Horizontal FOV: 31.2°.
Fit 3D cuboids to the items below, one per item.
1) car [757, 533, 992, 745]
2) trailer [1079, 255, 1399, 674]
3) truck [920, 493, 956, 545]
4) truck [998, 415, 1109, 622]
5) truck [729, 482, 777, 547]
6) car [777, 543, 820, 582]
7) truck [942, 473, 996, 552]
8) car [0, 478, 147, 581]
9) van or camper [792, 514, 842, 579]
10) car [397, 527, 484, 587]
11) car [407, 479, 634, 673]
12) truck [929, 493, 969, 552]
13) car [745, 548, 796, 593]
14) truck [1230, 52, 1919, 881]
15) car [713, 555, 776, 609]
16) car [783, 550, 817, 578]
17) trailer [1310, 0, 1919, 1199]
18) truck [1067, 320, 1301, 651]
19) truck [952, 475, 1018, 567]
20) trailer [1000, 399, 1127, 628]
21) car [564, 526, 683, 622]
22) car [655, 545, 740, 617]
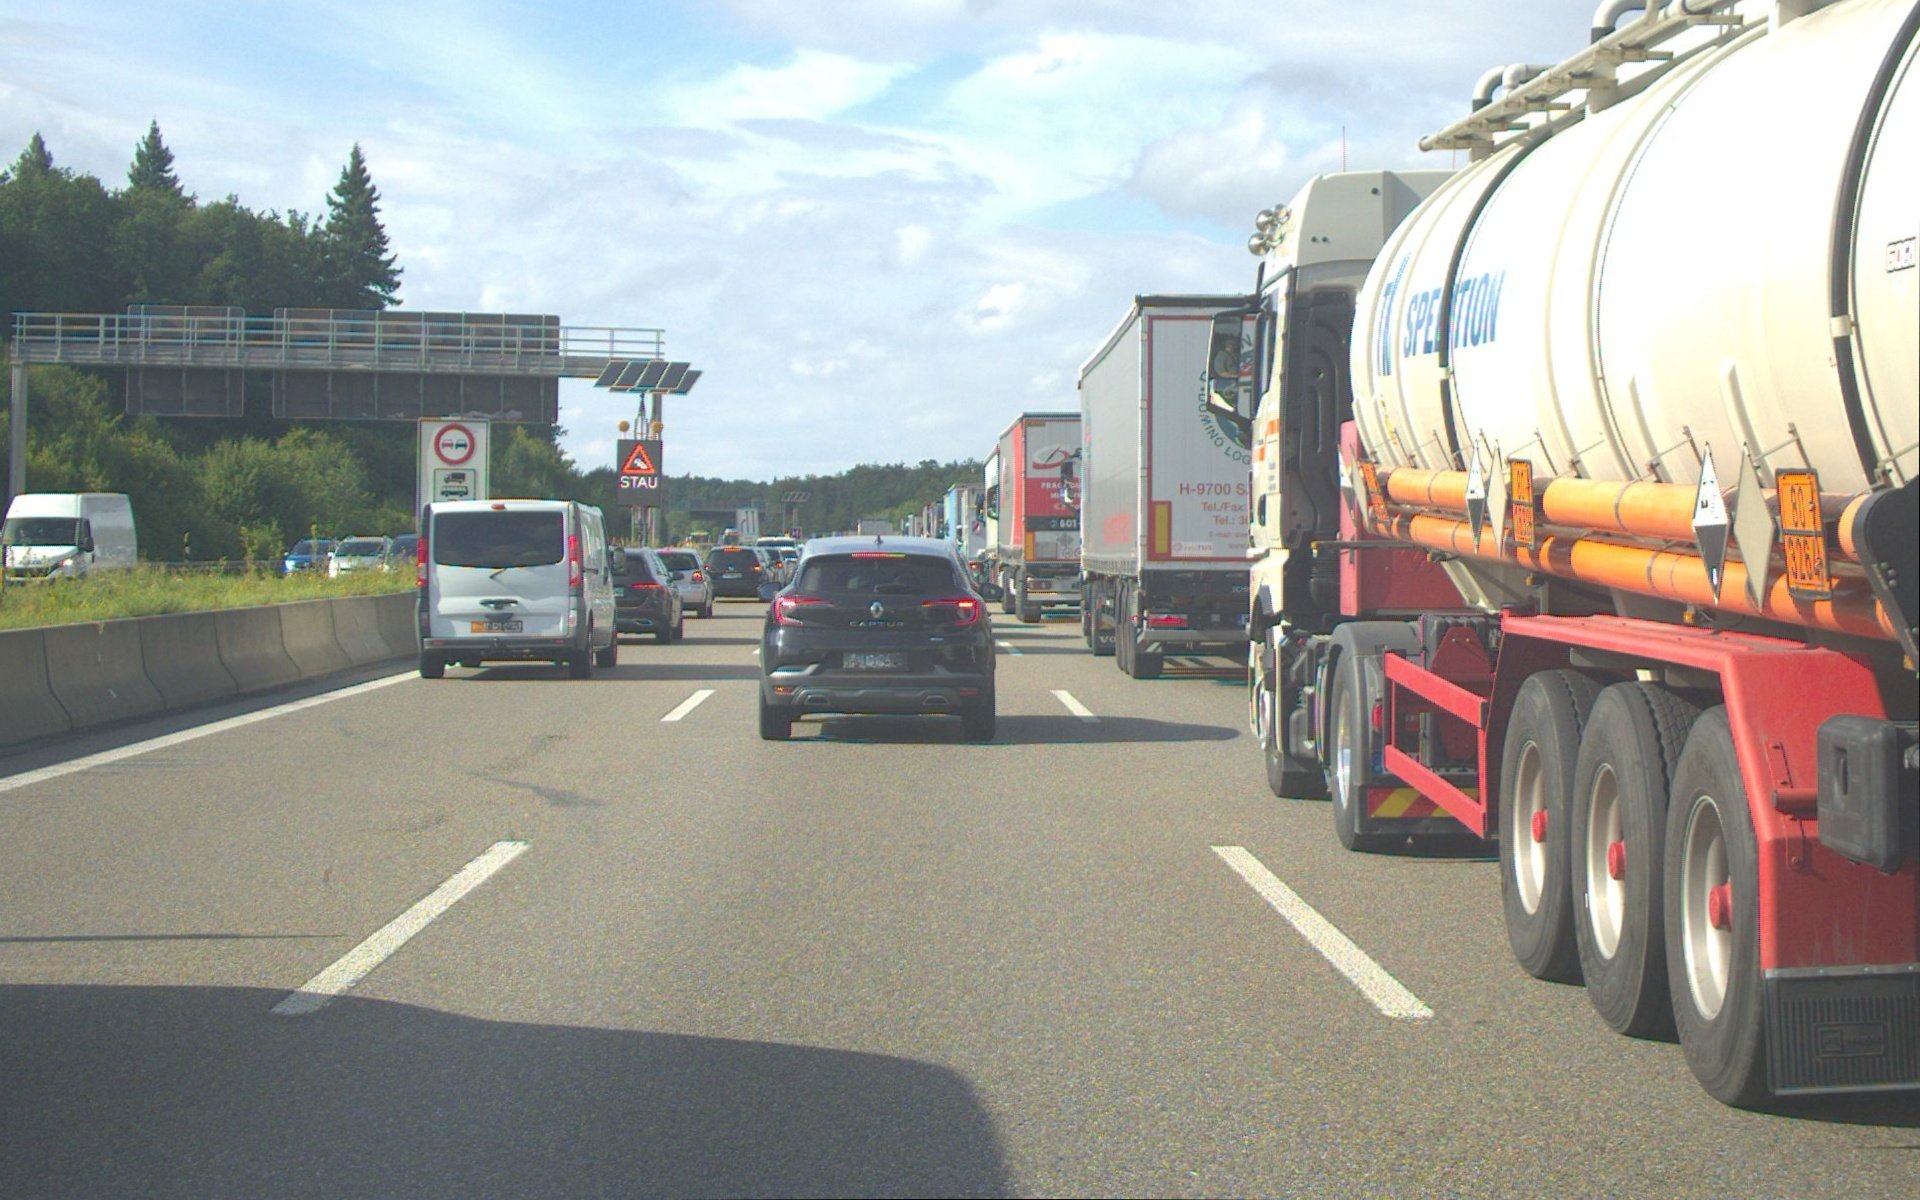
[{"bbox_3d":[-0.609,0.244,27.323,1.697,1.478,4.160,1,2,1],"label":"car"},{"bbox_3d":[3.001,-1.427,40.189,2.802,4.229,11.057,0,1,0],"label":"trailer"},{"bbox_3d":[-1.367,-5.017,213.998,1.993,3.042,4.982,4,1,0],"label":"truck"},{"bbox_3d":[1.972,-1.720,74.278,2.134,4.267,6.339,1,1,0],"label":"truck"},{"bbox_3d":[-12.065,-4.960,200.677,2.344,3.582,6.306,4,1,-1],"label":"truck"},{"bbox_3d":[-5.758,-1.330,122.779,1.361,1.296,3.085,4,1,-1],"label":"car"},{"bbox_3d":[0.341,-3.586,141.808,1.993,3.042,4.982,4,1,0],"label":"truck"},{"bbox_3d":[-20.771,-1.620,79.633,2.315,2.185,6.864,4,1,-2],"label":"car"},{"bbox_3d":[-5.922,-2.223,142.635,1.947,2.584,7.154,1,1,-2],"label":"van or camper"},{"bbox_3d":[-14.200,-1.182,94.075,1.828,1.599,3.809,0,1,0],"label":"car"},{"bbox_3d":[-4.970,-0.286,39.545,1.933,1.972,5.099,4,1,-1],"label":"car"},{"bbox_3d":[-0.622,-4.183,187.471,1.993,3.042,4.982,4,1,0],"label":"truck"},{"bbox_3d":[-5.945,-0.924,108.109,1.434,1.305,3.534,4,1,-1],"label":"car"},{"bbox_3d":[3.026,-0.615,18.252,2.533,3.571,6.730,0,1,-1],"label":"truck"},{"bbox_3d":[-5.647,-0.476,90.397,1.434,1.305,3.534,4,1,-1],"label":"car"},{"bbox_3d":[-6.856,-1.544,147.245,1.360,1.155,3.085,0,1,-1],"label":"car"},{"bbox_3d":[3.109,-0.589,12.037,2.541,3.641,10.627,0,1,-1],"label":"trailer"},{"bbox_3d":[2.969,-1.505,47.245,2.786,4.232,6.460,0,1,0],"label":"truck"},{"bbox_3d":[0.823,-2.655,116.389,1.993,2.922,4.982,4,1,0],"label":"truck"},{"bbox_3d":[1.978,-1.657,68.329,2.150,4.244,8.440,1,1,0],"label":"trailer"},{"bbox_3d":[-5.042,-0.404,51.808,1.500,1.391,3.476,0,1,-1],"label":"car"},{"bbox_3d":[-5.464,-0.405,71.823,1.500,1.391,3.476,4,1,-1],"label":"car"}]
